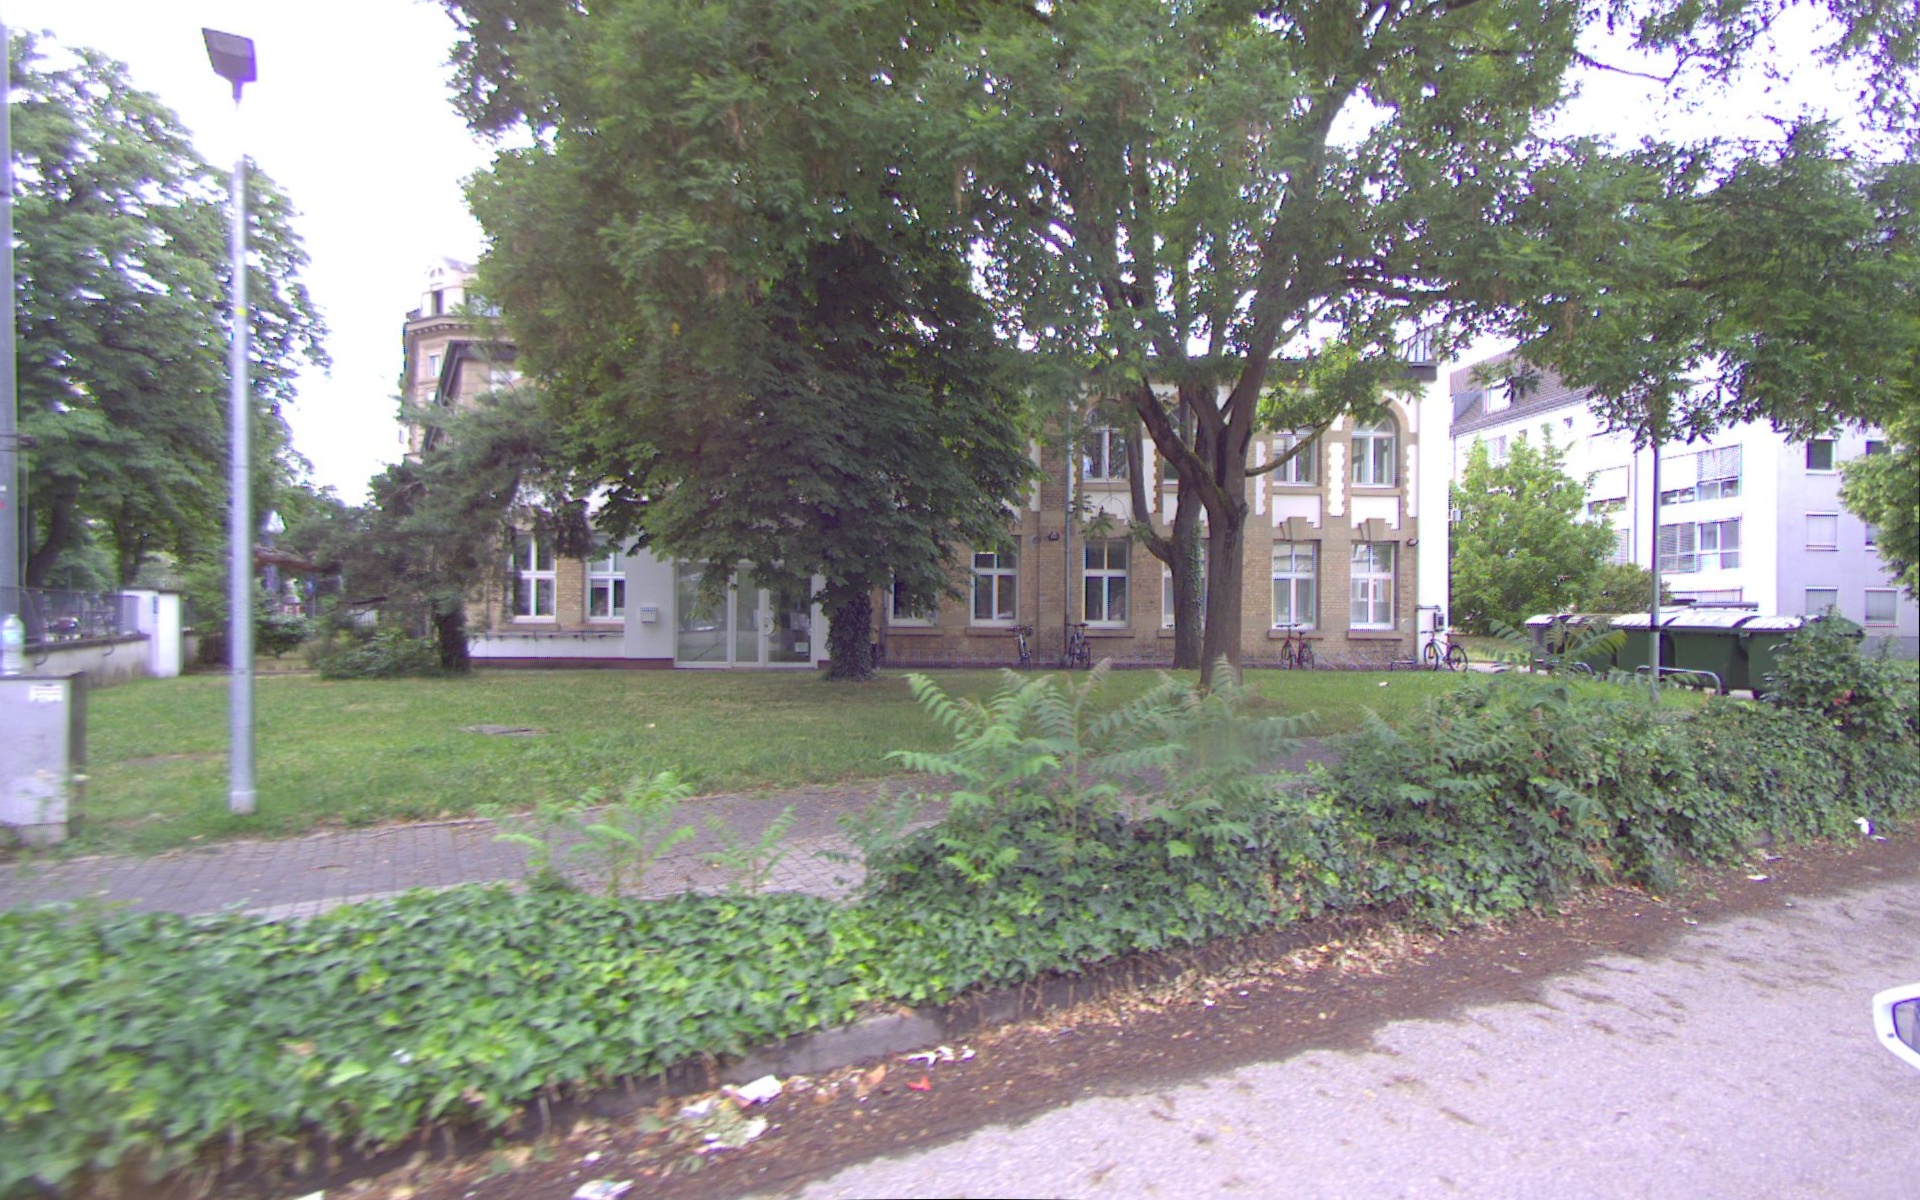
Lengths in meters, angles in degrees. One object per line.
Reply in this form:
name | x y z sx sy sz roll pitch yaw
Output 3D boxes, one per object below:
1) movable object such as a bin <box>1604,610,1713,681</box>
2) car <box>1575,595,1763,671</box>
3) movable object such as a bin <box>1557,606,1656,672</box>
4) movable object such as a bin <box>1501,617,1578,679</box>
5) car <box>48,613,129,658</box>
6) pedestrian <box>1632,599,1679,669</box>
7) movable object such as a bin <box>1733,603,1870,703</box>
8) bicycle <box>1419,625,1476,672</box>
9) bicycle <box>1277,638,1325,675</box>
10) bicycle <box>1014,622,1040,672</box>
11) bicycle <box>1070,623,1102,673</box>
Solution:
movable object such as a bin | 13.069 0.828 18.837 1.036 1.281 1.352 0 0 -9
car | 20.159 0.961 28.659 4.271 2.040 1.852 1 -2 -8
movable object such as a bin | 13.046 0.764 20.314 1.037 1.281 1.351 0 0 -12
movable object such as a bin | 12.530 1.013 21.786 1.034 1.281 1.355 0 0 9
car | -27.928 1.100 32.275 1.497 1.320 3.150 1 0 -33
pedestrian | 18.722 0.917 27.038 0.742 1.832 0.697 0 -2 -7
movable object such as a bin | 13.209 0.798 15.826 1.034 1.469 1.355 1 1 5
bicycle | 11.964 1.175 24.701 0.388 1.079 1.827 1 -1 -5
bicycle | 8.281 1.361 24.485 0.606 0.824 1.945 0 -1 3
bicycle | 1.605 1.106 24.232 0.606 1.134 2.222 0 -1 3
bicycle | 3.010 1.120 24.114 0.606 1.134 2.222 0 -1 3
